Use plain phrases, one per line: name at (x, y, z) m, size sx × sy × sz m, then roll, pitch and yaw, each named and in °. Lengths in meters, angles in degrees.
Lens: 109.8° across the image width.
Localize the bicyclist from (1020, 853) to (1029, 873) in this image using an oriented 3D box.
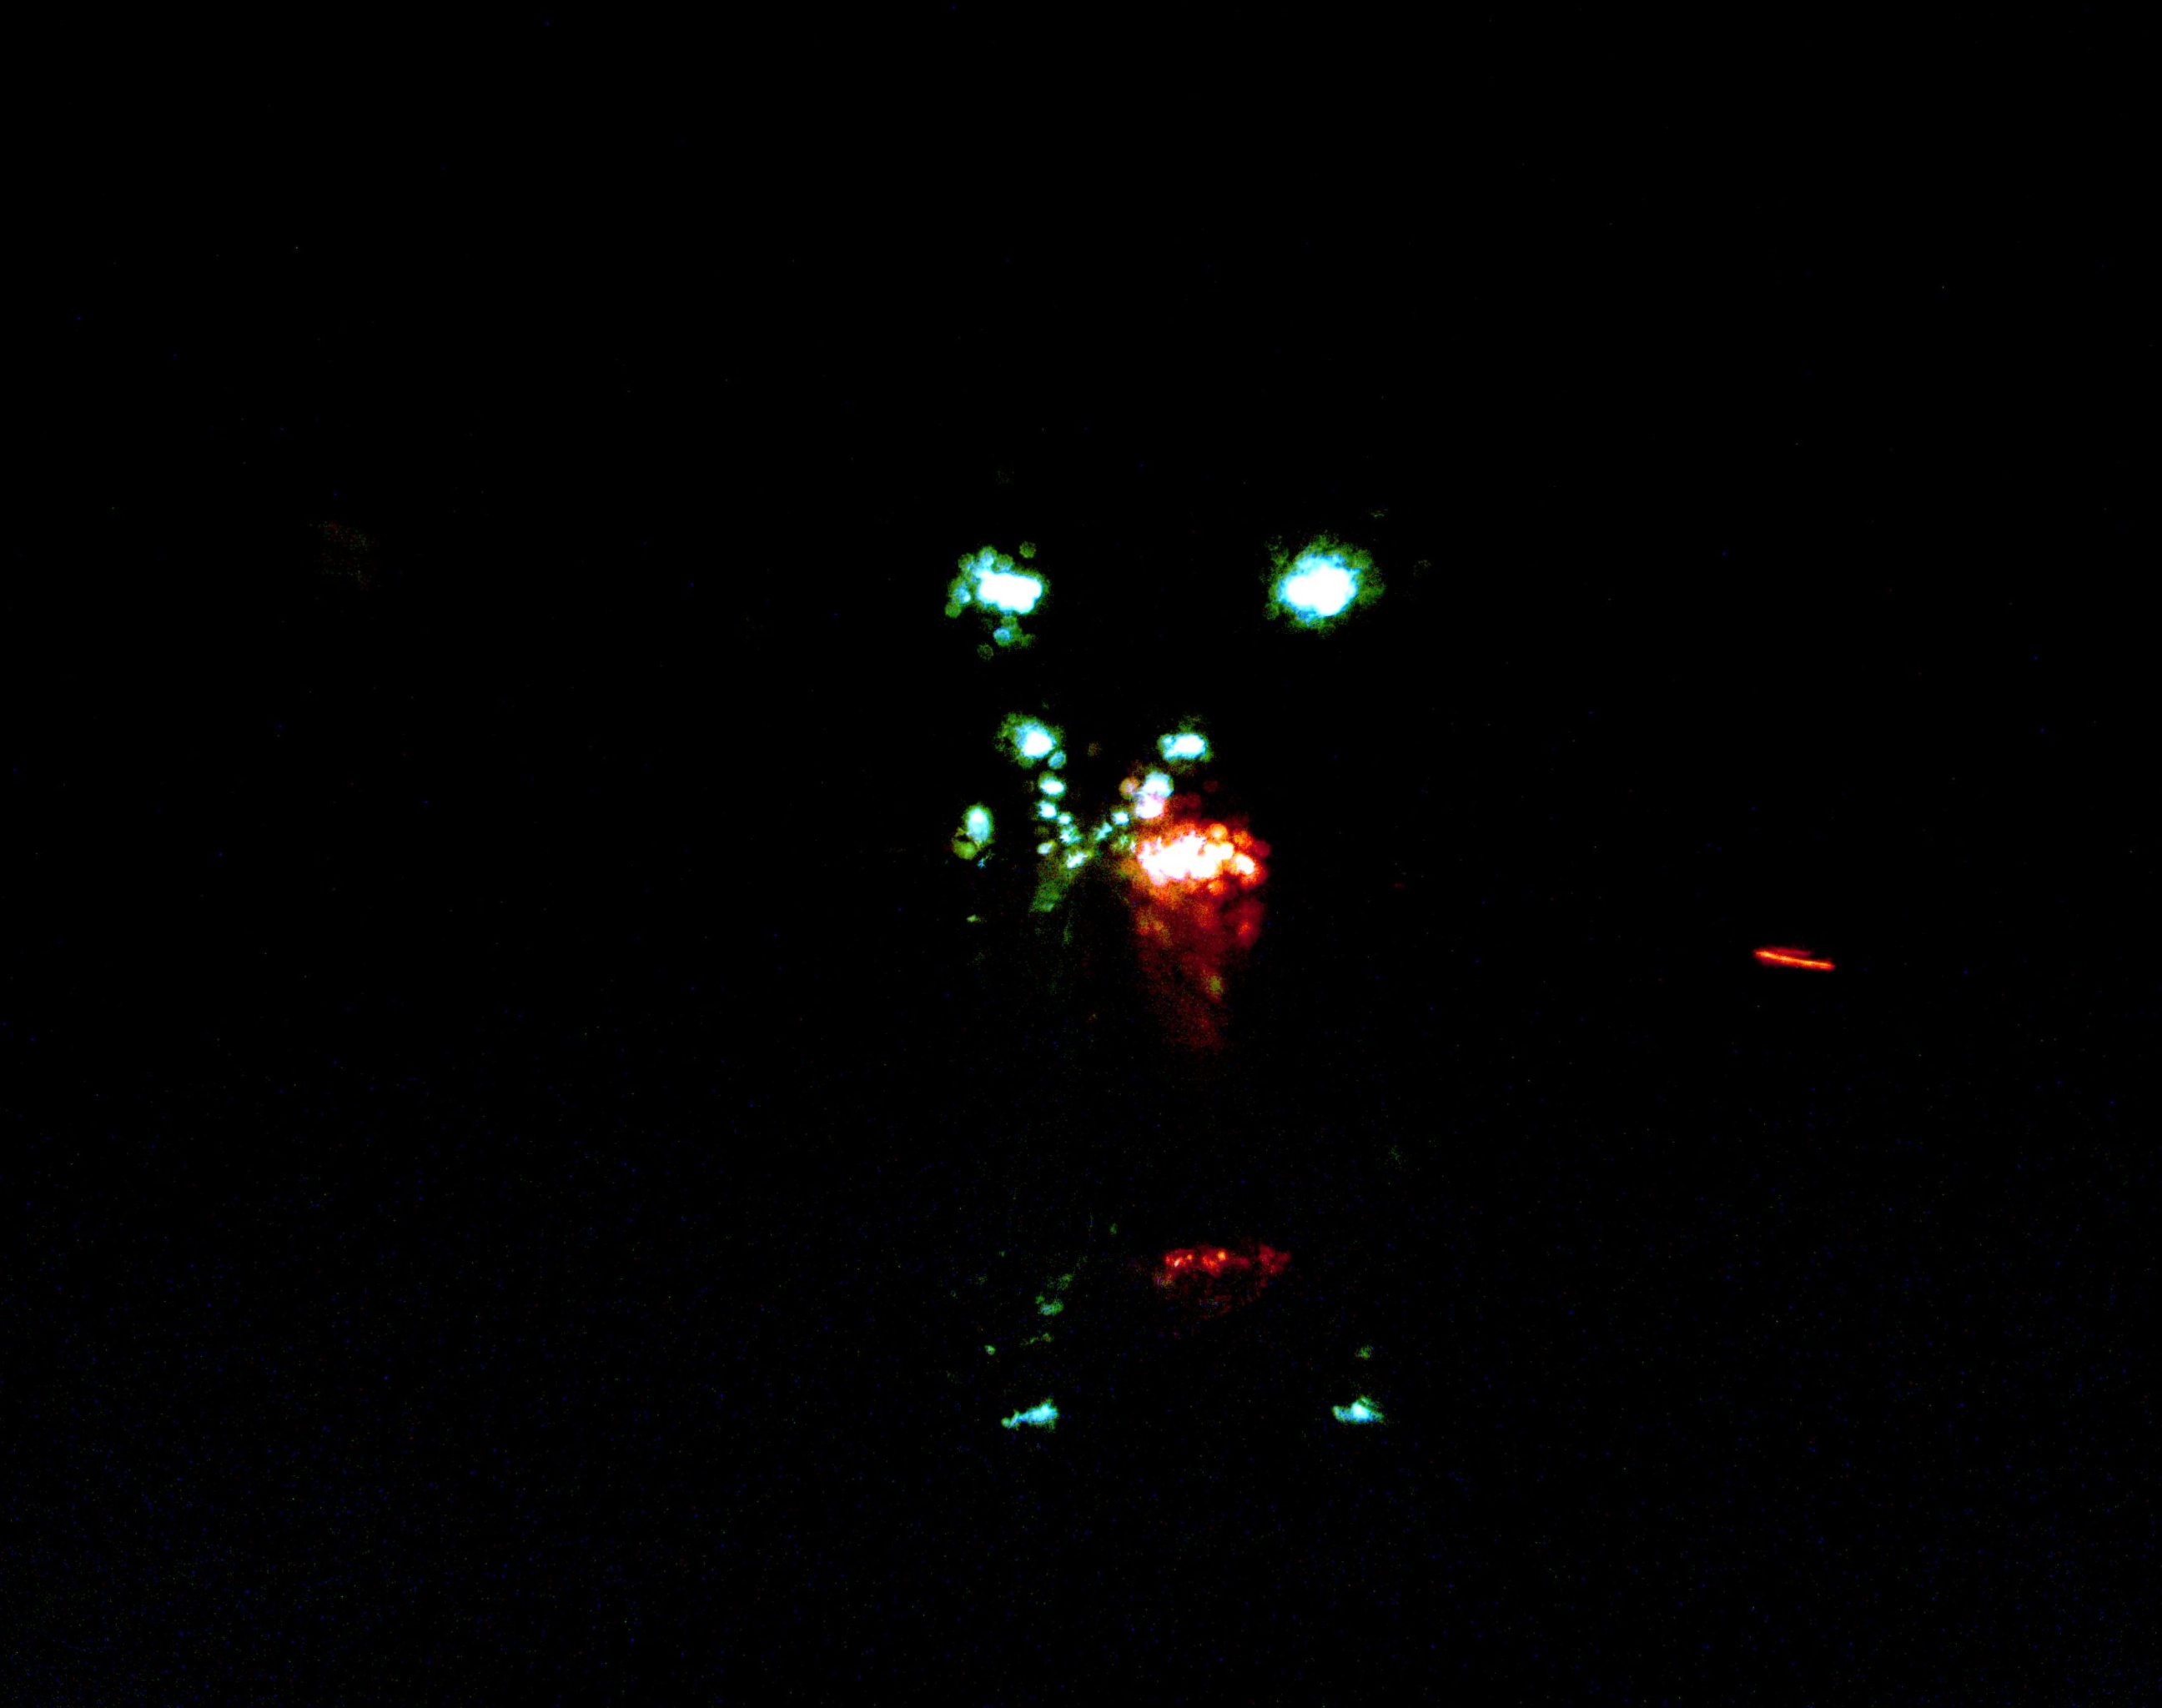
bicyclist at (-4.616, 0.724, 61.966) m, size 0.571 × 1.539 × 0.816 m, roll -3°, pitch 2°, yaw 6°

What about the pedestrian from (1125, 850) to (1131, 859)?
pedestrian at (6.882, 0.126, 110.468) m, size 0.586 × 1.246 × 0.622 m, roll -5°, pitch 2°, yaw -43°

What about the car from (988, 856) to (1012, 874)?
car at (-6.930, 0.944, 65.622) m, size 1.649 × 1.433 × 4.055 m, roll 3°, pitch 0°, yaw -1°

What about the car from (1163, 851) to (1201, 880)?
car at (5.412, 0.590, 41.014) m, size 1.655 × 1.470 × 4.206 m, roll 1°, pitch 0°, yaw 2°

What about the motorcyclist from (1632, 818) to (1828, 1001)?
motorcyclist at (6.706, 0.525, 7.943) m, size 0.920 × 1.730 × 1.135 m, roll 4°, pitch 2°, yaw -1°

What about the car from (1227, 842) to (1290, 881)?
car at (9.455, 0.393, 40.956) m, size 1.999 × 1.815 × 5.308 m, roll -4°, pitch 0°, yaw -1°

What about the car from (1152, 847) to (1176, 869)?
car at (7.297, 0.325, 67.069) m, size 1.899 × 1.858 × 4.536 m, roll 0°, pitch 1°, yaw 3°

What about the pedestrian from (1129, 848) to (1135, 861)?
pedestrian at (7.142, 0.023, 106.019) m, size 0.716 × 1.764 × 0.671 m, roll -3°, pitch 2°, yaw 3°

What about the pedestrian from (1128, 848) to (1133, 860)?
pedestrian at (7.082, 0.027, 109.160) m, size 0.401 × 1.620 × 0.531 m, roll -5°, pitch 3°, yaw -43°

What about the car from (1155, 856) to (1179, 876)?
car at (6.812, 0.934, 60.582) m, size 1.796 × 1.456 × 3.902 m, roll -1°, pitch 0°, yaw 5°

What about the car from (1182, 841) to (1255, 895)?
car at (4.960, 0.468, 28.025) m, size 1.943 × 1.805 × 4.385 m, roll 1°, pitch 0°, yaw 1°

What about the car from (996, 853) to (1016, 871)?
car at (-6.977, 0.735, 70.689) m, size 1.652 × 1.516 × 3.579 m, roll 3°, pitch 0°, yaw -4°

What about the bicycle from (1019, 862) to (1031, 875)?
bicycle at (-4.587, 1.177, 62.084) m, size 0.571 × 0.964 × 1.781 m, roll -3°, pitch 1°, yaw 6°

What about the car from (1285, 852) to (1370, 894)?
car at (9.405, 0.680, 29.332) m, size 1.770 × 1.398 × 4.140 m, roll -3°, pitch 1°, yaw -2°

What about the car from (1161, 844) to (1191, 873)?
car at (6.639, 0.307, 53.317) m, size 1.930 × 1.868 × 4.639 m, roll 1°, pitch 0°, yaw 5°

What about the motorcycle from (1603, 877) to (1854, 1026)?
motorcycle at (6.678, 0.934, 8.033) m, size 0.819 × 1.223 × 2.000 m, roll 4°, pitch 2°, yaw -1°

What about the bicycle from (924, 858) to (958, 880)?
bicycle at (-7.932, 0.861, 42.966) m, size 1.818 × 1.157 × 0.492 m, roll 2°, pitch 2°, yaw -2°
